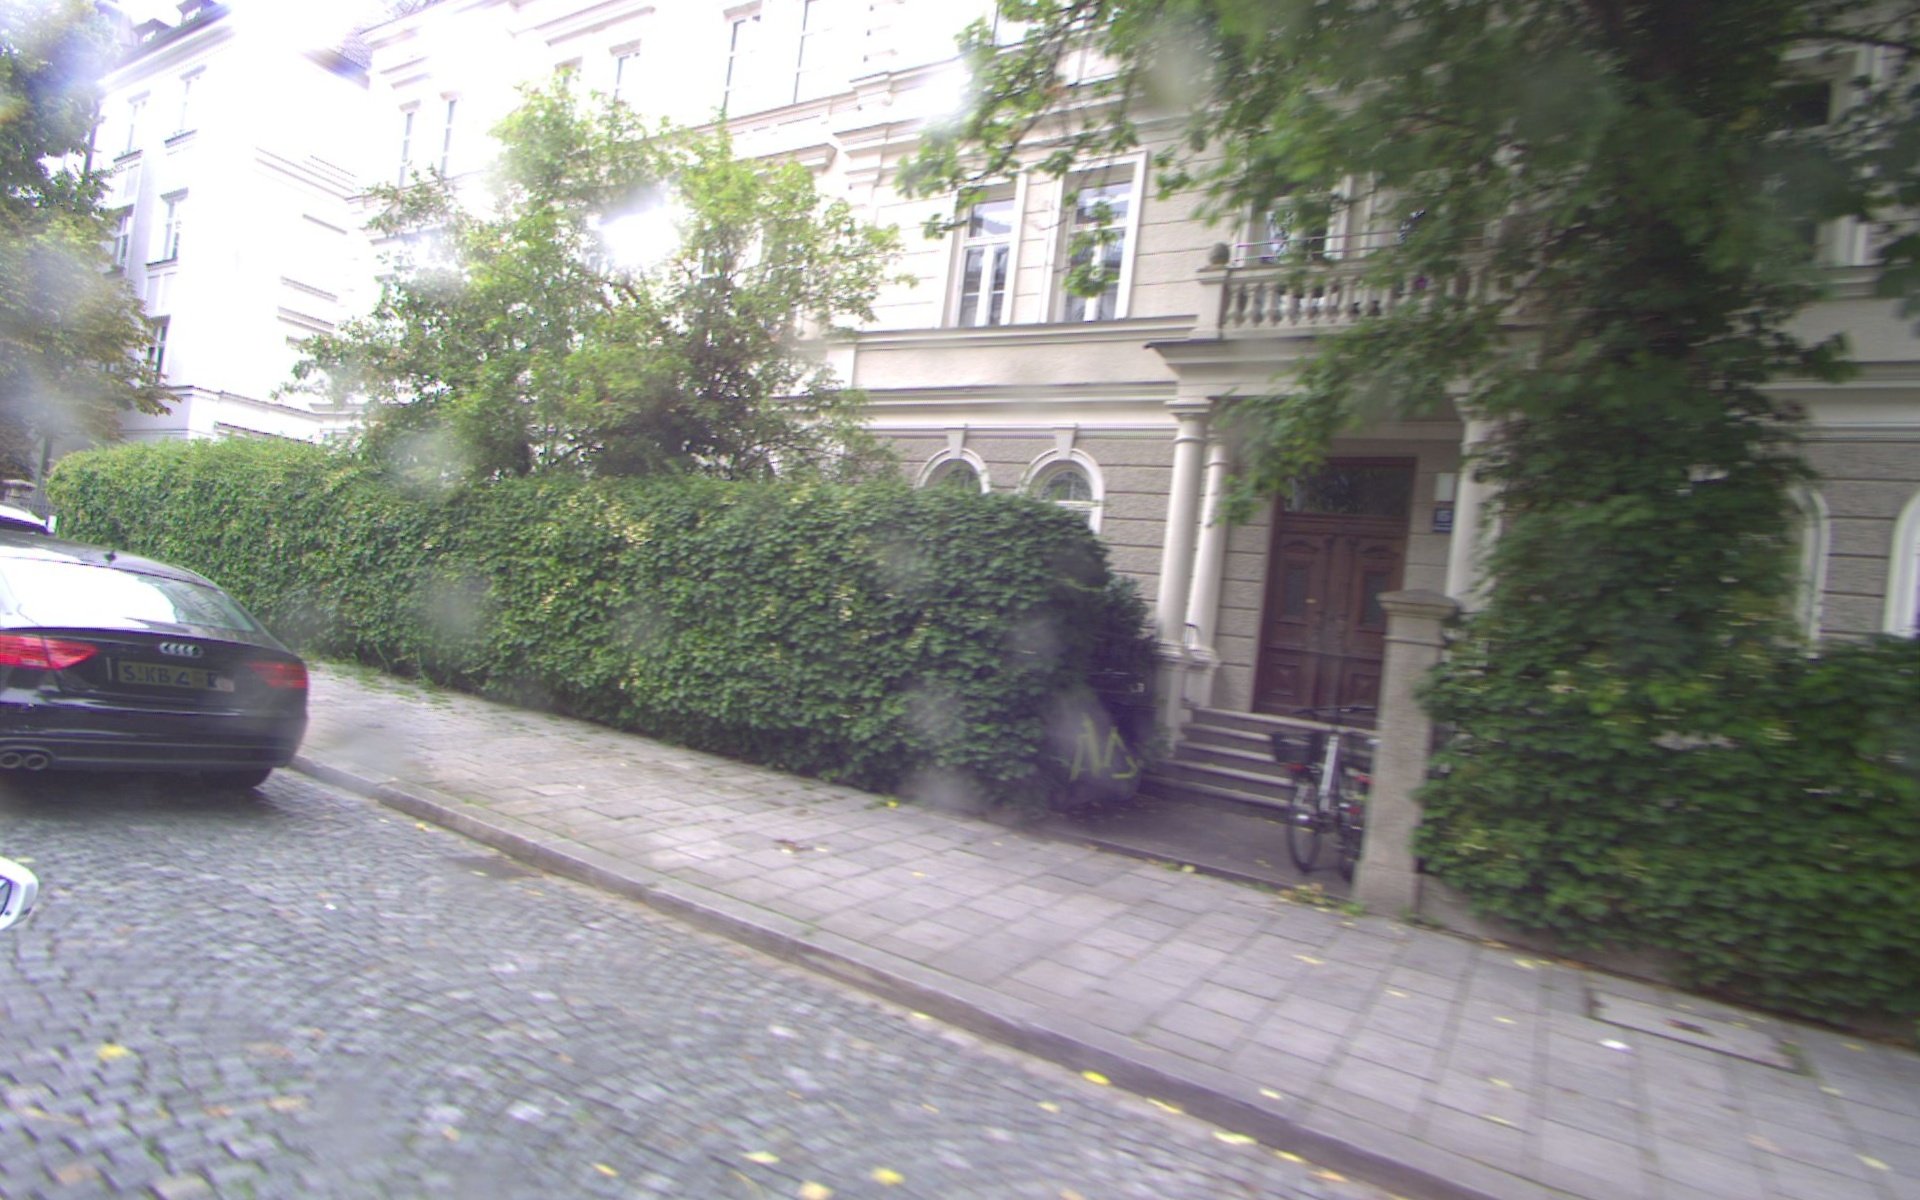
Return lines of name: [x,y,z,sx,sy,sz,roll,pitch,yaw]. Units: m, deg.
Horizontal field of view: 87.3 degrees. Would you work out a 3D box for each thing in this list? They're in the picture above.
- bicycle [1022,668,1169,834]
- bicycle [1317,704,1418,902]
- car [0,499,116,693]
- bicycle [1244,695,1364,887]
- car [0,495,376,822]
bicycle: [1.198,1.188,8.459,0.423,1.166,2.040,7,1,28]
bicycle: [2.939,1.382,7.185,0.401,1.166,1.433,7,1,28]
car: [-10.075,-0.289,9.513,4.138,1.595,1.824,7,-5,32]
bicycle: [2.584,1.343,7.464,0.497,1.166,1.495,7,1,28]
car: [-6.051,0.164,6.444,4.435,1.519,1.880,7,-4,30]
